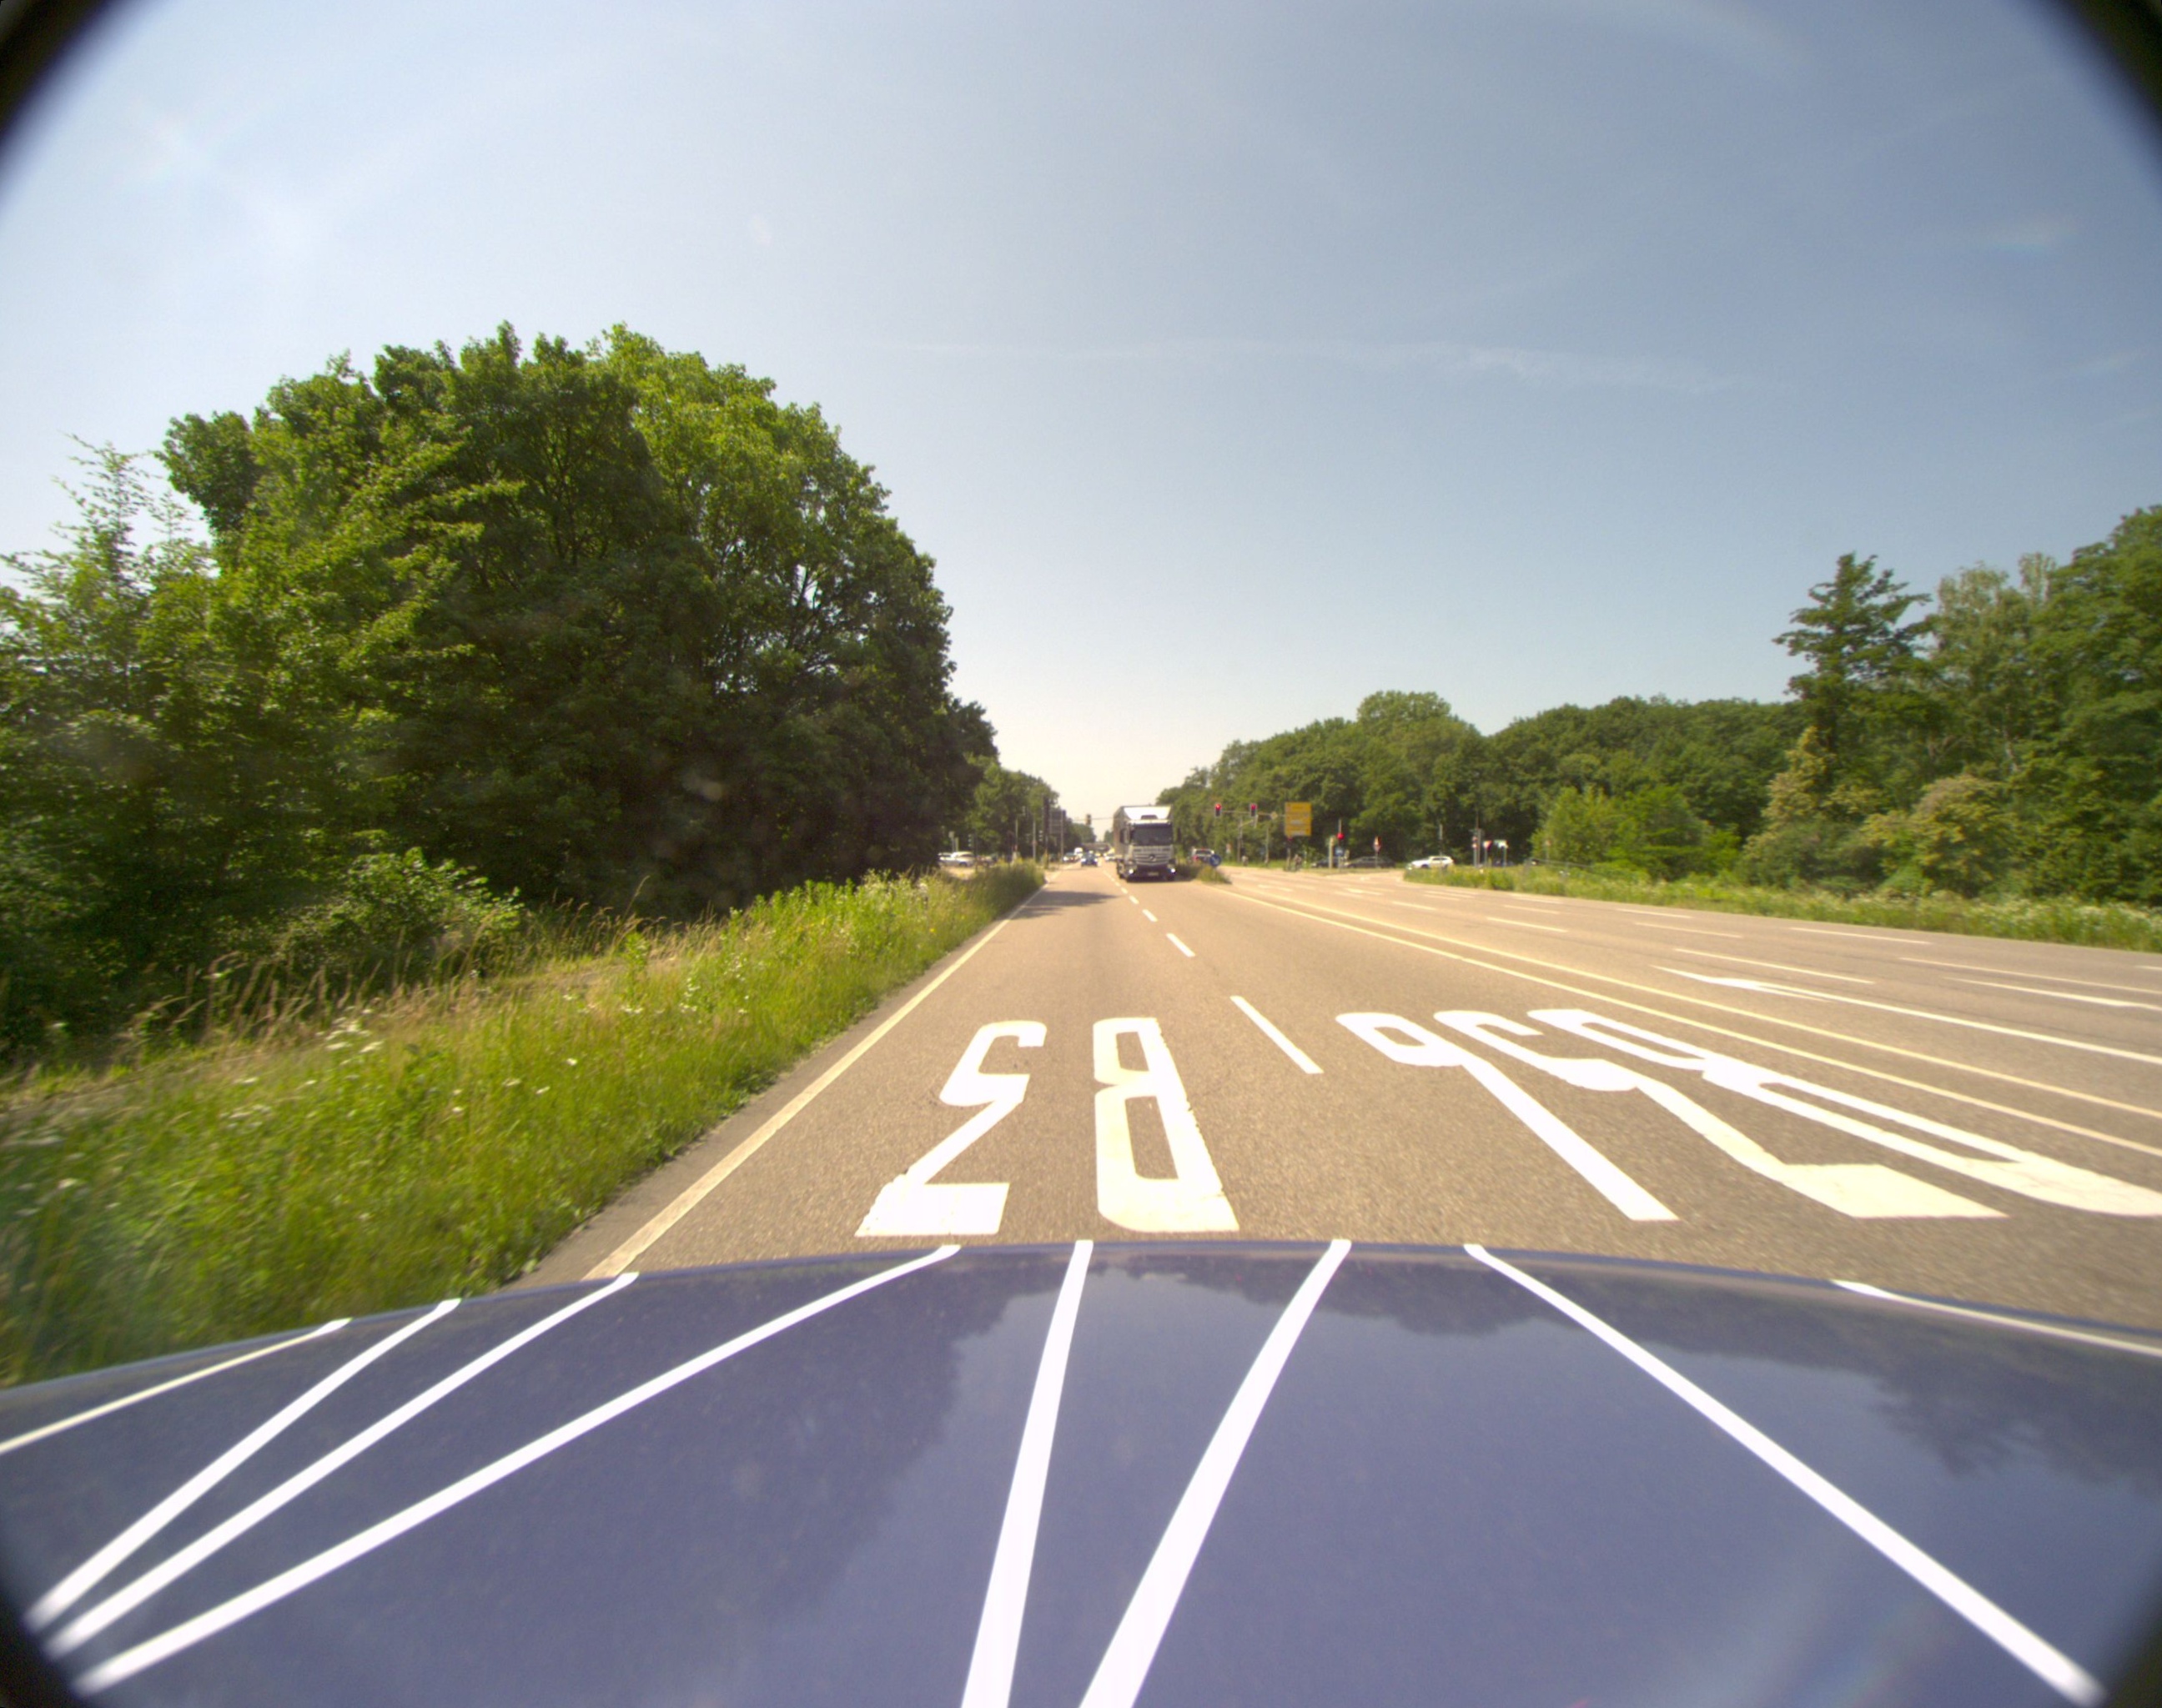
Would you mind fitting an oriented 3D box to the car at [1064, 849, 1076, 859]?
[{"bbox_3d":[-1.626,0.005,118.270,1.796,1.431,4.228,0,0,0],"label":"car"}]

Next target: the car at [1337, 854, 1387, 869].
[{"bbox_3d":[31.108,0.832,84.246,4.817,1.510,1.862,1,1,0],"label":"car"}]

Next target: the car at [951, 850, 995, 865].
[{"bbox_3d":[-11.683,0.344,82.530,4.431,1.526,2.000,1,1,0],"label":"car"}]

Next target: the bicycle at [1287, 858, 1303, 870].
[{"bbox_3d":[19.829,0.907,70.426,0.722,1.057,1.874,1,1,39],"label":"bicycle"}]

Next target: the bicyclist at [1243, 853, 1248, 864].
[{"bbox_3d":[21.862,0.612,101.120,0.660,1.456,0.810,1,1,10],"label":"bicyclist"}]

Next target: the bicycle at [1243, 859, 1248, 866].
[{"bbox_3d":[21.852,1.152,101.150,0.566,0.918,1.606,1,0,11],"label":"bicycle"}]

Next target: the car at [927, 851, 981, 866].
[{"bbox_3d":[-12.515,0.433,75.108,4.943,1.490,2.020,0,1,2],"label":"car"}]

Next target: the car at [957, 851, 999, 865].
[{"bbox_3d":[-10.639,0.417,78.652,4.102,1.438,1.995,1,1,-1],"label":"car"}]

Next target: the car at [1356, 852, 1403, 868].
[{"bbox_3d":[36.109,0.730,92.063,4.817,1.887,2.000,1,1,1],"label":"car"}]

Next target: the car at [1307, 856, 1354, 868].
[{"bbox_3d":[28.998,0.941,88.338,4.816,1.283,2.105,1,0,2],"label":"car"}]

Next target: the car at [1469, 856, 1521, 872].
[{"bbox_3d":[47.930,1.106,88.000,4.817,1.747,2.000,1,1,0],"label":"car"}]

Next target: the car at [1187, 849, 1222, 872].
[{"bbox_3d":[9.523,0.479,58.971,1.998,1.668,5.366,2,0,2],"label":"car"}]

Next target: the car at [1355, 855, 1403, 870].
[{"bbox_3d":[34.623,0.932,88.261,4.815,1.626,2.001,1,1,5],"label":"car"}]

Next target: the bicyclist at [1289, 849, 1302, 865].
[{"bbox_3d":[19.828,0.257,70.368,0.924,1.451,0.718,1,1,39],"label":"bicyclist"}]

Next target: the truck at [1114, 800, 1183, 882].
[{"bbox_3d":[3.457,-0.630,41.800,2.753,3.862,11.319,-1,0,0],"label":"truck"}]

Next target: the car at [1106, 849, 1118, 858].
[{"bbox_3d":[5.245,-0.100,130.017,1.998,1.543,4.000,1,0,1],"label":"car"}]

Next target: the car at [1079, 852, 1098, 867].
[{"bbox_3d":[0.825,0.572,82.604,1.992,1.575,4.364,0,0,0],"label":"car"}]

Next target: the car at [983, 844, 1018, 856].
[{"bbox_3d":[-10.297,-0.497,97.395,1.792,1.452,4.237,-1,1,44],"label":"car"}]

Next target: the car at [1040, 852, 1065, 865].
[{"bbox_3d":[-3.918,0.639,105.427,1.737,1.681,3.742,0,1,32],"label":"car"}]

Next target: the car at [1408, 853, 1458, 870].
[{"bbox_3d":[40.789,0.871,88.225,4.816,1.884,2.066,1,1,2],"label":"car"}]
